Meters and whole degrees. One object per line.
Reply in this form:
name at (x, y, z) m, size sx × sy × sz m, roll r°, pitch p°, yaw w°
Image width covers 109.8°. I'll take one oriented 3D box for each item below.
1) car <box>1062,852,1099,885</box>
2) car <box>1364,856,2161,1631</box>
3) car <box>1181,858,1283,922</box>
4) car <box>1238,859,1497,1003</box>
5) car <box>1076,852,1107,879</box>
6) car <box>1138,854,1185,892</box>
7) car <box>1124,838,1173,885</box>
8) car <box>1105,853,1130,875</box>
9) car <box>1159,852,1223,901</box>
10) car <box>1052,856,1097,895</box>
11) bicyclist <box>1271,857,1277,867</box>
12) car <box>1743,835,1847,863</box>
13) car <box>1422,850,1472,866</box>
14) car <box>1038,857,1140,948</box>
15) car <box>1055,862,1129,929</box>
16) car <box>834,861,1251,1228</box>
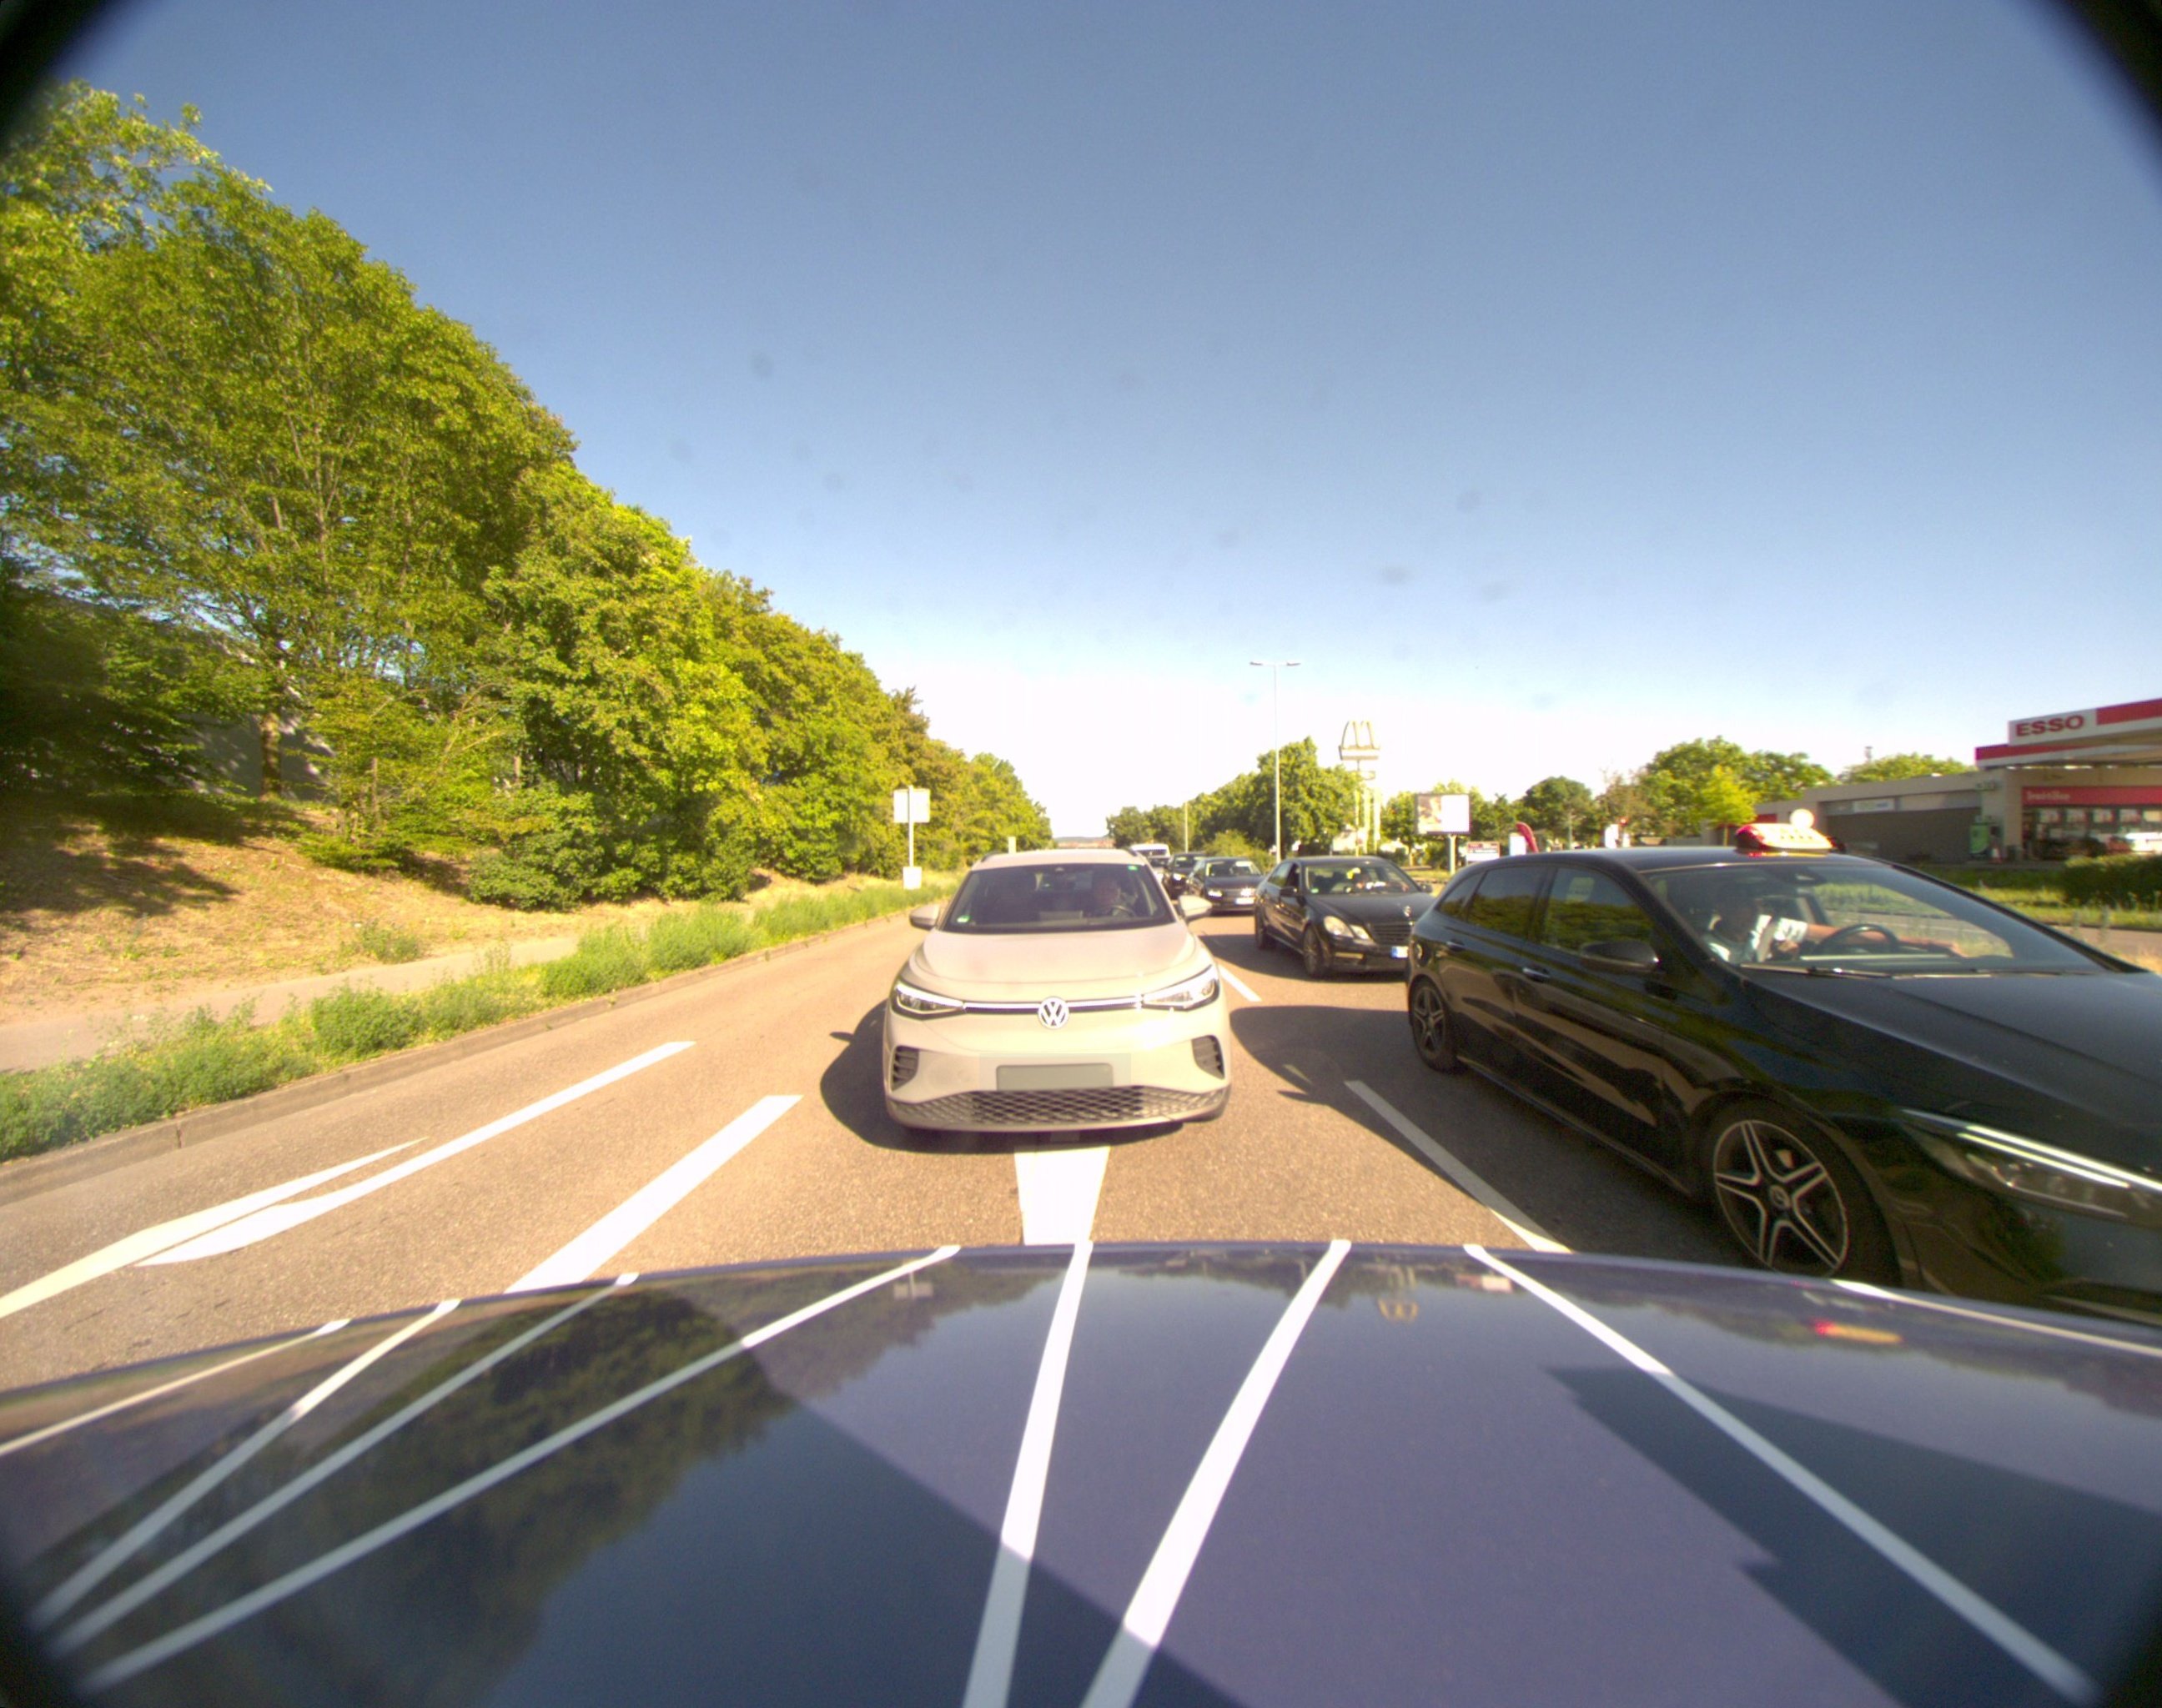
car at (-0.041, 0.714, 39.857) m, size 1.763 × 1.482 × 4.402 m, roll -2°, pitch 1°, yaw 0°
car at (3.090, 0.818, 3.655) m, size 1.763 × 1.482 × 4.402 m, roll -2°, pitch 1°, yaw 0°
car at (3.873, 0.861, 20.218) m, size 1.797 × 1.419 × 4.287 m, roll -2°, pitch 0°, yaw 0°
car at (3.589, 0.851, 10.502) m, size 1.868 × 1.430 × 4.402 m, roll -2°, pitch 1°, yaw 0°
car at (0.606, 0.692, 47.024) m, size 1.763 × 1.482 × 4.402 m, roll -2°, pitch 1°, yaw 0°
car at (3.574, 0.791, 34.167) m, size 1.635 × 1.547 × 3.777 m, roll -2°, pitch 0°, yaw 0°
car at (3.654, 0.385, 42.142) m, size 2.019 × 2.349 × 6.523 m, roll -2°, pitch 0°, yaw 0°
car at (2.935, 0.817, 62.117) m, size 1.763 × 1.607 × 4.402 m, roll -2°, pitch 1°, yaw 0°
car at (3.905, 0.757, 27.536) m, size 1.674 × 1.607 × 3.879 m, roll -2°, pitch 0°, yaw 0°
car at (-0.256, 0.882, 33.036) m, size 1.763 × 1.482 × 4.402 m, roll -2°, pitch 1°, yaw 0°
bicyclist at (27.617, 1.125, 108.551) m, size 0.629 × 1.281 × 0.700 m, roll -2°, pitch 1°, yaw 1°
car at (37.291, -0.267, 39.829) m, size 1.682 × 1.401 × 3.978 m, roll 1°, pitch 1°, yaw 0°
car at (35.357, 0.381, 73.417) m, size 3.975 × 1.401 × 1.764 m, roll 1°, pitch 1°, yaw 0°
car at (0.135, 0.873, 15.762) m, size 1.763 × 1.482 × 4.402 m, roll -2°, pitch 1°, yaw 0°
car at (0.265, 1.040, 20.929) m, size 1.763 × 1.482 × 4.402 m, roll -2°, pitch 1°, yaw 0°
car at (-0.182, 0.900, 5.704) m, size 1.862 × 1.573 × 4.403 m, roll -2°, pitch 0°, yaw 0°
